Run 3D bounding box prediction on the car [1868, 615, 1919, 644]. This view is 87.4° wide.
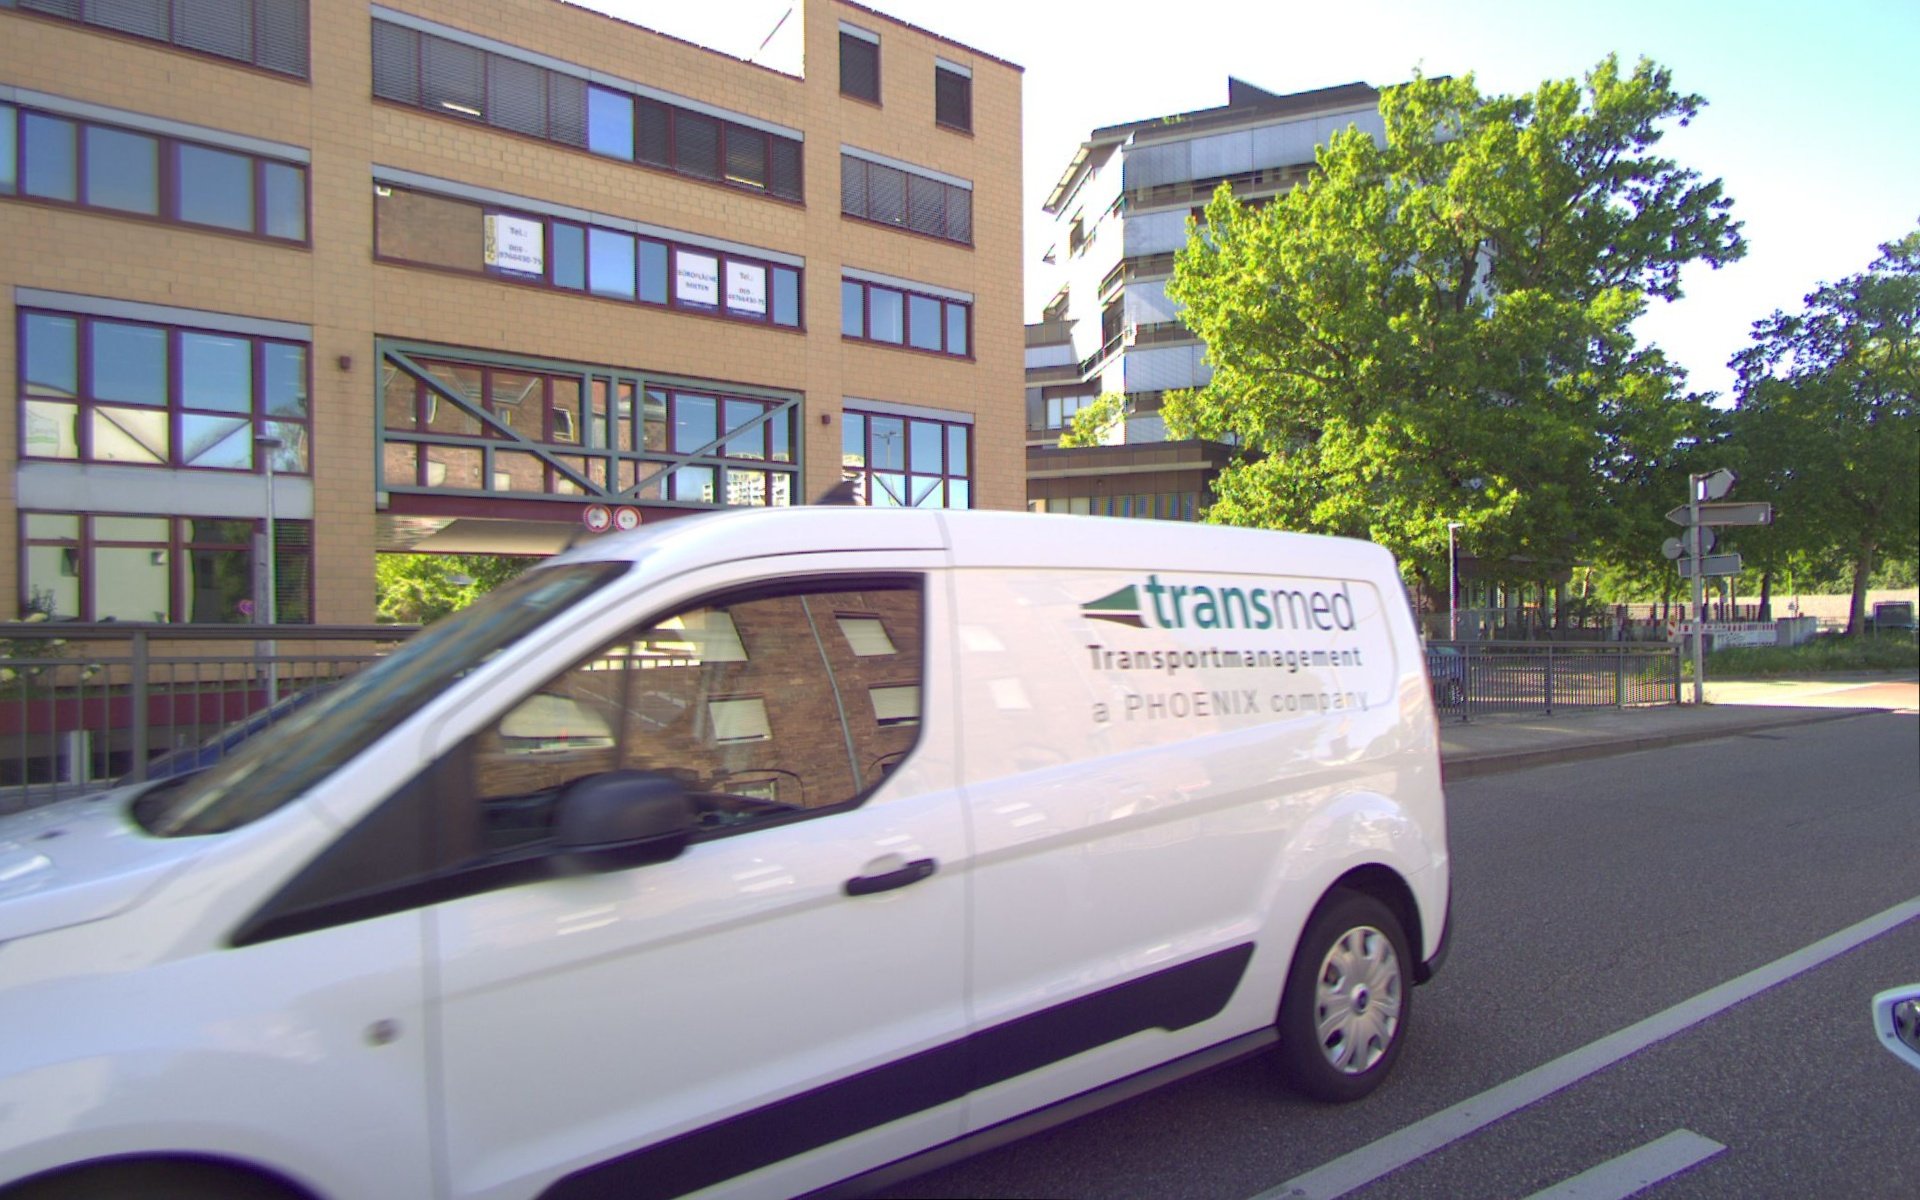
[{"bbox_3d":[50.038,1.512,52.101,1.790,1.458,4.451,-1,-1,0],"label":"car"}]

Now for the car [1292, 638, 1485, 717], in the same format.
[{"bbox_3d":[9.728,1.683,22.711,4.400,1.523,1.811,0,-1,-31],"label":"car"}]

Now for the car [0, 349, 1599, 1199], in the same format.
[{"bbox_3d":[-0.104,0.616,3.209,5.068,1.825,1.799,0,-1,-35],"label":"car"}]

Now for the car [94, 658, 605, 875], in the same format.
[{"bbox_3d":[-6.682,1.664,11.444,4.642,1.781,1.937,0,0,-36],"label":"car"}]
